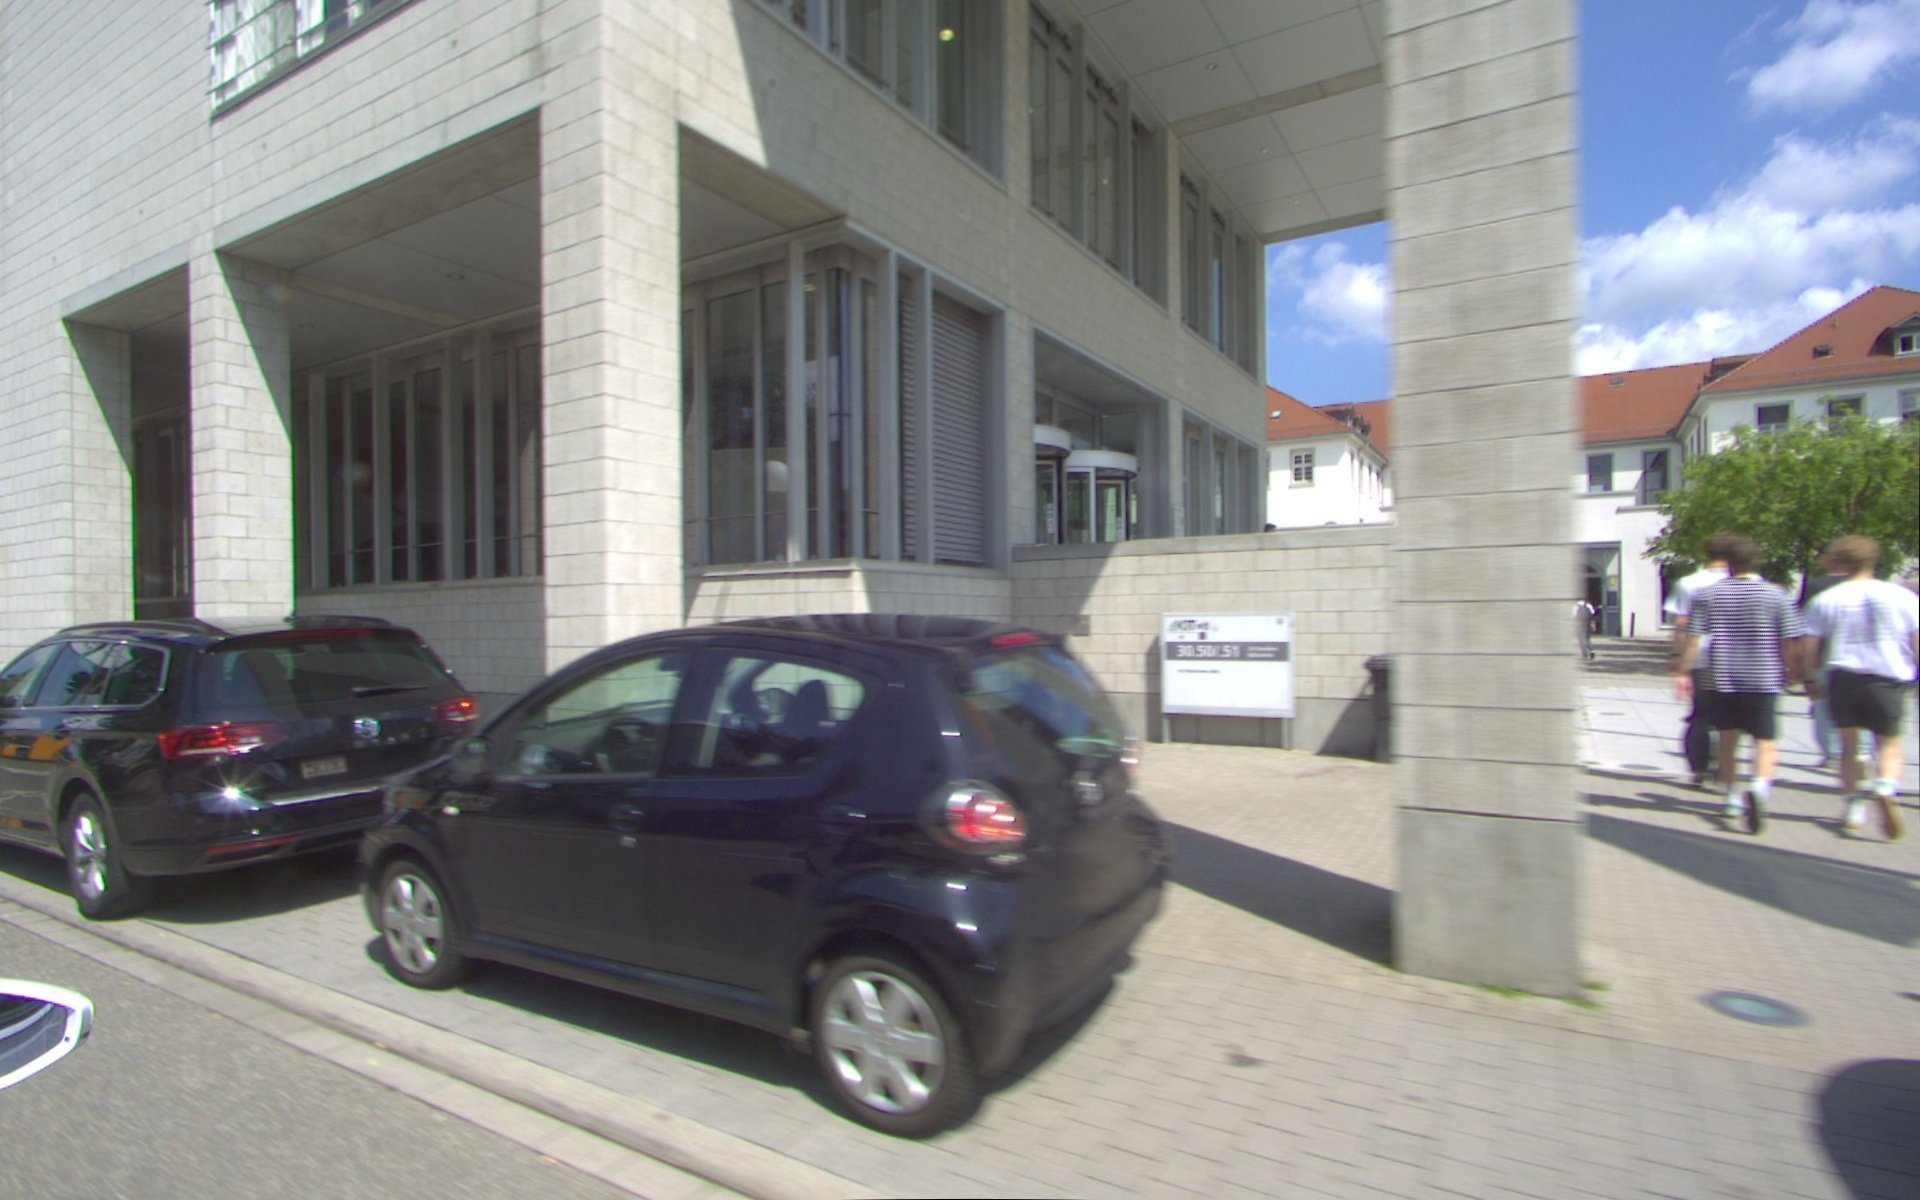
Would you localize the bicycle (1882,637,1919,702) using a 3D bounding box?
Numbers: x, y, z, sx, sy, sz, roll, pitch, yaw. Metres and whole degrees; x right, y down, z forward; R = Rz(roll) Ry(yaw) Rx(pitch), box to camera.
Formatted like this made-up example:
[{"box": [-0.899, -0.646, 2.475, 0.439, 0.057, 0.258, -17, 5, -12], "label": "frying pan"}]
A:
[{"box": [17.837, 1.226, 18.099, 1.733, 1.113, 0.604, -2, -1, 1], "label": "bicycle"}]

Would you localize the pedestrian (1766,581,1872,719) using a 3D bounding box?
[{"box": [10.689, 0.609, 12.478, 0.724, 1.661, 0.691, 0, 0, -7], "label": "pedestrian"}]

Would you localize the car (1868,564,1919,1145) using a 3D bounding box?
[{"box": [4.306, 0.648, 1.175, 4.496, 1.550, 1.717, -1, 1, 29], "label": "car"}]

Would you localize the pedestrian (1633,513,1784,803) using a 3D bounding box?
[{"box": [5.375, 0.404, 7.243, 0.739, 1.950, 0.723, -1, 0, 27], "label": "pedestrian"}]

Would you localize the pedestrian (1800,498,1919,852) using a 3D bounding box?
[{"box": [5.418, 0.421, 5.899, 0.585, 1.950, 0.782, -1, 0, 31], "label": "pedestrian"}]

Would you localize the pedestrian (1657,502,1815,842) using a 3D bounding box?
[{"box": [4.824, 0.425, 6.274, 0.725, 1.950, 0.779, -1, 0, 36], "label": "pedestrian"}]

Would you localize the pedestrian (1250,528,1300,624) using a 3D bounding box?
[{"box": [6.195, -0.450, 19.702, 0.707, 1.821, 0.716, -3, -1, 34], "label": "pedestrian"}]

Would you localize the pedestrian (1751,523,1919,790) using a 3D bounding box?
[{"box": [7.020, 0.427, 7.967, 1.006, 1.945, 1.093, -1, -1, 32], "label": "pedestrian"}]

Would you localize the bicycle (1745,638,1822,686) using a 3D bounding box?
[{"box": [15.258, 1.124, 18.593, 0.511, 0.803, 1.764, -1, -1, 19], "label": "bicycle"}]

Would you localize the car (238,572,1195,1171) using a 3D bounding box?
[{"box": [-1.179, 0.732, 4.244, 3.947, 1.516, 1.612, -1, -1, 30], "label": "car"}]

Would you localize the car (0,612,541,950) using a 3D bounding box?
[{"box": [-4.889, 0.851, 6.382, 4.455, 1.483, 1.863, -1, -1, 32], "label": "car"}]

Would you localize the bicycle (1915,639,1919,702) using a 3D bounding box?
[{"box": [17.763, 1.204, 17.378, 1.733, 1.113, 0.604, -2, -1, 1], "label": "bicycle"}]
